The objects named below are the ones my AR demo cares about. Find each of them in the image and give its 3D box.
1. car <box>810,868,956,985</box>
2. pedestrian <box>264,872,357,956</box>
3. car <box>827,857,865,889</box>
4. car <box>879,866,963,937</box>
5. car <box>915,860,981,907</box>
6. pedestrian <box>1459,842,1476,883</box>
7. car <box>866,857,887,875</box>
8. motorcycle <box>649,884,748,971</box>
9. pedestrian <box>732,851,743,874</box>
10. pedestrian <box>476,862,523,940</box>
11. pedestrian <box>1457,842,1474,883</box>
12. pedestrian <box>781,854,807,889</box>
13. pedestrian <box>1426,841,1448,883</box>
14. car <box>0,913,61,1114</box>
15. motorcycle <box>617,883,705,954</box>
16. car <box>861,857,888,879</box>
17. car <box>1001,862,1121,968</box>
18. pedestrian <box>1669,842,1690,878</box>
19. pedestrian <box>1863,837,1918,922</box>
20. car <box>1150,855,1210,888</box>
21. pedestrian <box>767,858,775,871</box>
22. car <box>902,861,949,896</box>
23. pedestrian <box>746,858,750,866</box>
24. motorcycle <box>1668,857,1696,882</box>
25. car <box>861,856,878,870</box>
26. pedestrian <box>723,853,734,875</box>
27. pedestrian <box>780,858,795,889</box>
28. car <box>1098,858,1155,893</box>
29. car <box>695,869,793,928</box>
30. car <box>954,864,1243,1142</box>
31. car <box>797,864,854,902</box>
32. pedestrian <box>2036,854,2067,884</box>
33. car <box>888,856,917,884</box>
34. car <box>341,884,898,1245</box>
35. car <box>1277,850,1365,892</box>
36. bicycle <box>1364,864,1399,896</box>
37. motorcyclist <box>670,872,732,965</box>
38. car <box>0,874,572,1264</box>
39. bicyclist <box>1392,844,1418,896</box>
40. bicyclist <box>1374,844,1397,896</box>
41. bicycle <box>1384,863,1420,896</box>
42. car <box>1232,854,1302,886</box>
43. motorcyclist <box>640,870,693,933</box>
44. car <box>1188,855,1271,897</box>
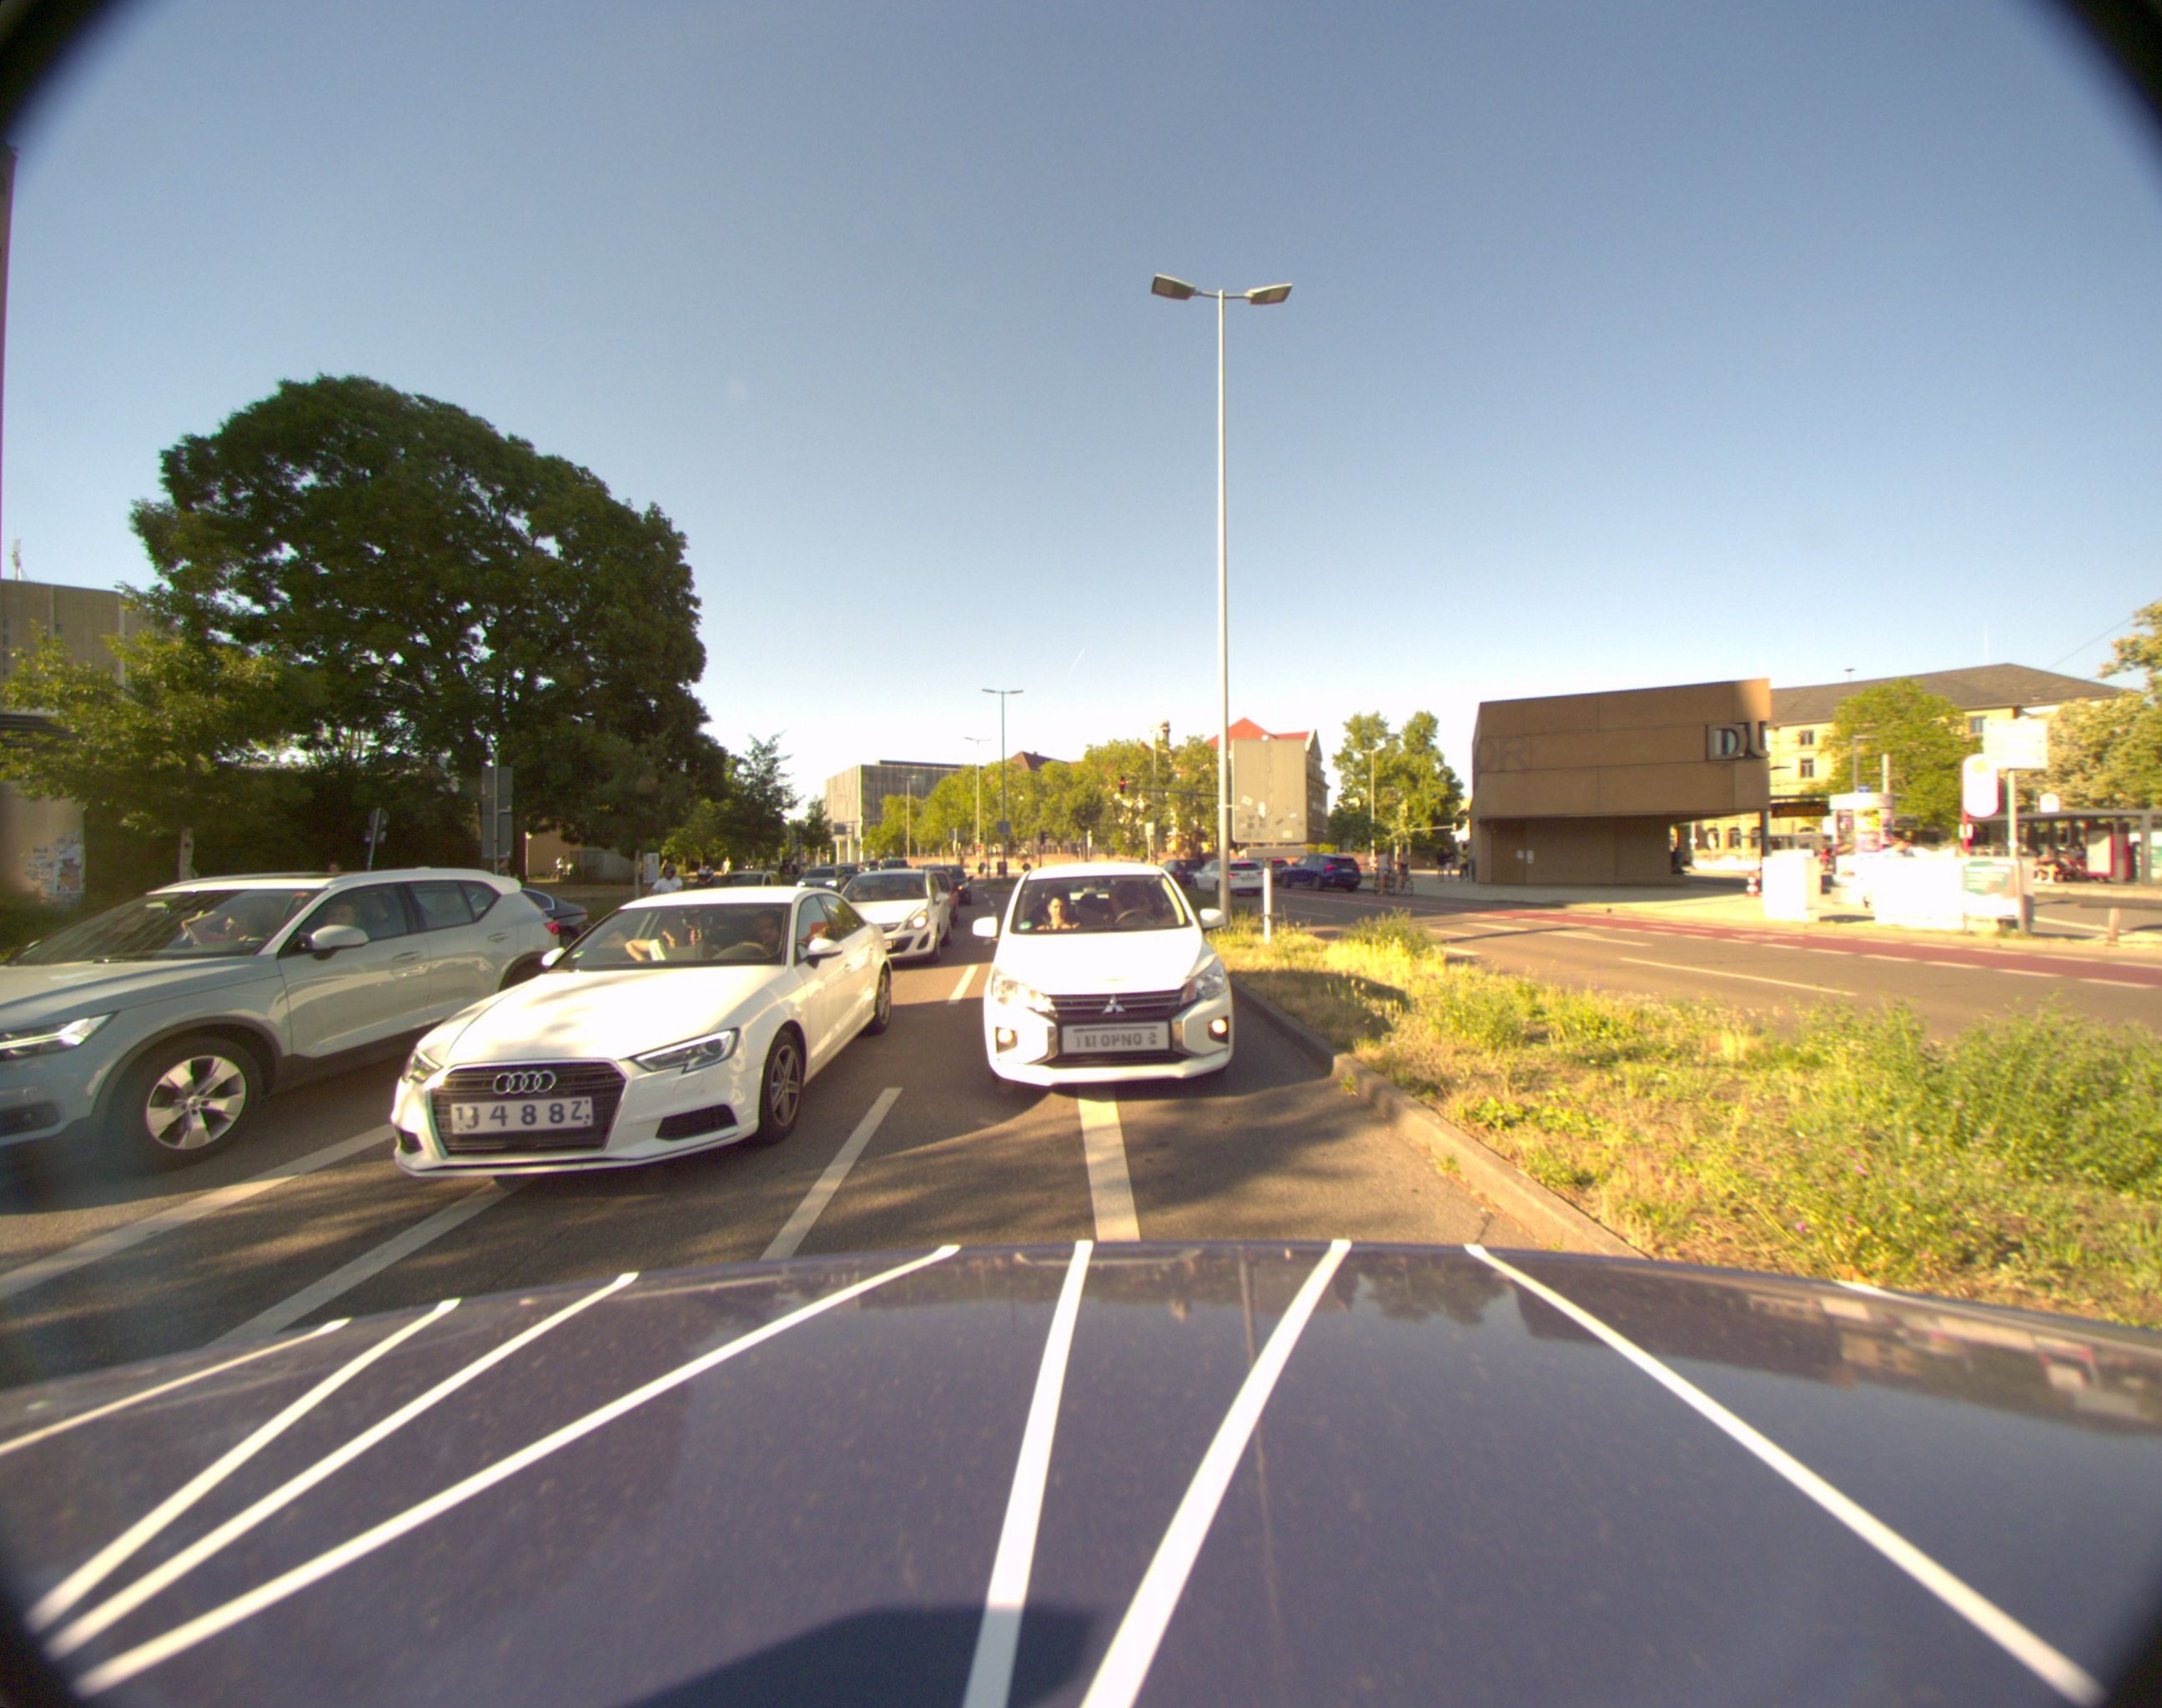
[{"bbox_3d":[-3.076,1.045,12.577,1.628,1.451,4.039,-2,1,-5],"label":"car"},{"bbox_3d":[-16.680,1.270,16.478,1.010,1.711,0.884,-2,1,-10],"label":"pedestrian"},{"bbox_3d":[-14.123,1.091,45.809,1.880,1.805,3.995,-1,0,-14],"label":"car"},{"bbox_3d":[-3.898,1.093,19.094,1.628,1.451,4.039,-2,1,-7],"label":"car"},{"bbox_3d":[-4.971,1.021,27.972,1.748,1.536,3.993,-1,0,-20],"label":"car"},{"bbox_3d":[19.189,0.443,37.723,0.655,2.002,0.469,-2,1,20],"label":"pedestrian"},{"bbox_3d":[-21.360,1.183,79.323,1.881,1.805,3.993,-1,0,-19],"label":"car"},{"bbox_3d":[-6.821,1.261,13.706,0.718,1.297,2.234,-2,1,-4],"label":"motorcycle"},{"bbox_3d":[-24.421,0.581,54.035,0.548,1.597,0.603,-3,1,-19],"label":"pedestrian"},{"bbox_3d":[-14.431,1.146,18.874,0.464,1.875,0.696,-2,1,18],"label":"pedestrian"},{"bbox_3d":[18.684,0.410,36.916,0.655,2.002,0.469,-2,1,20],"label":"pedestrian"},{"bbox_3d":[-16.978,1.014,45.038,1.143,2.002,1.285,-2,1,-10],"label":"pedestrian"},{"bbox_3d":[17.596,0.395,37.543,0.777,2.002,0.773,-2,1,13],"label":"pedestrian"},{"bbox_3d":[-8.760,1.238,3.880,1.628,1.451,4.040,-2,1,-2],"label":"car"},{"bbox_3d":[-8.955,1.335,16.307,0.718,1.297,2.234,-2,1,-4],"label":"motorcycle"},{"bbox_3d":[-16.948,1.119,62.333,1.748,1.696,3.993,-1,0,-20],"label":"car"},{"bbox_3d":[-0.195,0.962,13.718,1.755,1.451,4.189,-2,1,3],"label":"car"},{"bbox_3d":[33.815,0.354,42.898,0.780,2.002,0.771,-3,2,-42],"label":"pedestrian"},{"bbox_3d":[18.461,0.566,17.349,0.797,1.886,0.612,0,1,40],"label":"pedestrian"},{"bbox_3d":[4.796,0.801,37.515,1.757,1.451,4.185,-2,1,-10],"label":"car"},{"bbox_3d":[-47.950,1.650,117.571,0.840,2.002,1.065,-3,1,-30],"label":"pedestrian"},{"bbox_3d":[-8.254,1.245,40.097,1.748,1.696,3.993,-1,0,-21],"label":"car"},{"bbox_3d":[-58.200,1.389,132.919,0.409,1.476,0.486,-1,1,1],"label":"pedestrian"},{"bbox_3d":[26.272,0.698,33.219,0.948,1.061,0.331,-1,1,39],"label":"motorcycle"},{"bbox_3d":[-27.159,1.164,97.578,1.881,1.805,3.993,-1,0,-19],"label":"car"},{"bbox_3d":[-24.998,0.733,53.849,0.548,1.521,0.603,-3,1,-19],"label":"pedestrian"},{"bbox_3d":[-15.629,1.038,40.473,0.596,1.585,0.594,-2,1,-8],"label":"pedestrian"},{"bbox_3d":[2.086,0.983,35.972,1.757,1.451,4.185,-2,1,-10],"label":"car"},{"bbox_3d":[-10.113,1.275,23.125,1.746,1.516,3.996,-1,0,-9],"label":"car"},{"bbox_3d":[0.054,0.891,6.431,1.628,1.451,4.040,-2,1,-2],"label":"car"},{"bbox_3d":[-11.592,1.281,34.692,1.746,1.536,3.997,-1,0,-8],"label":"car"},{"bbox_3d":[38.950,0.608,30.493,0.539,1.180,0.659,-2,1,29],"label":"pedestrian"},{"bbox_3d":[-12.338,1.056,52.512,1.880,1.805,3.995,-1,0,-14],"label":"car"},{"bbox_3d":[-2.555,1.033,5.388,1.628,1.396,3.832,-2,1,-2],"label":"car"},{"bbox_3d":[10.369,0.685,33.159,1.757,1.680,4.184,-1,0,-13],"label":"car"},{"bbox_3d":[11.649,1.007,29.516,0.464,1.185,1.395,-3,1,-17],"label":"bicycle"},{"bbox_3d":[-6.804,1.138,13.626,0.711,1.581,0.690,-2,1,-4],"label":"motorcyclist"},{"bbox_3d":[-5.752,1.050,5.255,1.628,1.611,4.223,-2,1,-2],"label":"car"},{"bbox_3d":[12.492,0.606,29.330,0.611,2.002,0.708,-1,1,-15],"label":"bicyclist"},{"bbox_3d":[11.738,0.603,29.303,0.611,2.002,0.565,-1,1,-15],"label":"bicyclist"},{"bbox_3d":[12.466,0.976,29.503,0.464,1.185,1.395,-3,1,-17],"label":"bicycle"},{"bbox_3d":[9.457,0.783,39.087,1.850,1.483,4.388,1,0,-10],"label":"car"},{"bbox_3d":[-8.968,1.015,16.461,0.718,1.297,0.735,-2,1,-4],"label":"motorcyclist"},{"bbox_3d":[6.009,0.843,31.363,1.850,1.483,4.388,-2,1,-10],"label":"car"}]
